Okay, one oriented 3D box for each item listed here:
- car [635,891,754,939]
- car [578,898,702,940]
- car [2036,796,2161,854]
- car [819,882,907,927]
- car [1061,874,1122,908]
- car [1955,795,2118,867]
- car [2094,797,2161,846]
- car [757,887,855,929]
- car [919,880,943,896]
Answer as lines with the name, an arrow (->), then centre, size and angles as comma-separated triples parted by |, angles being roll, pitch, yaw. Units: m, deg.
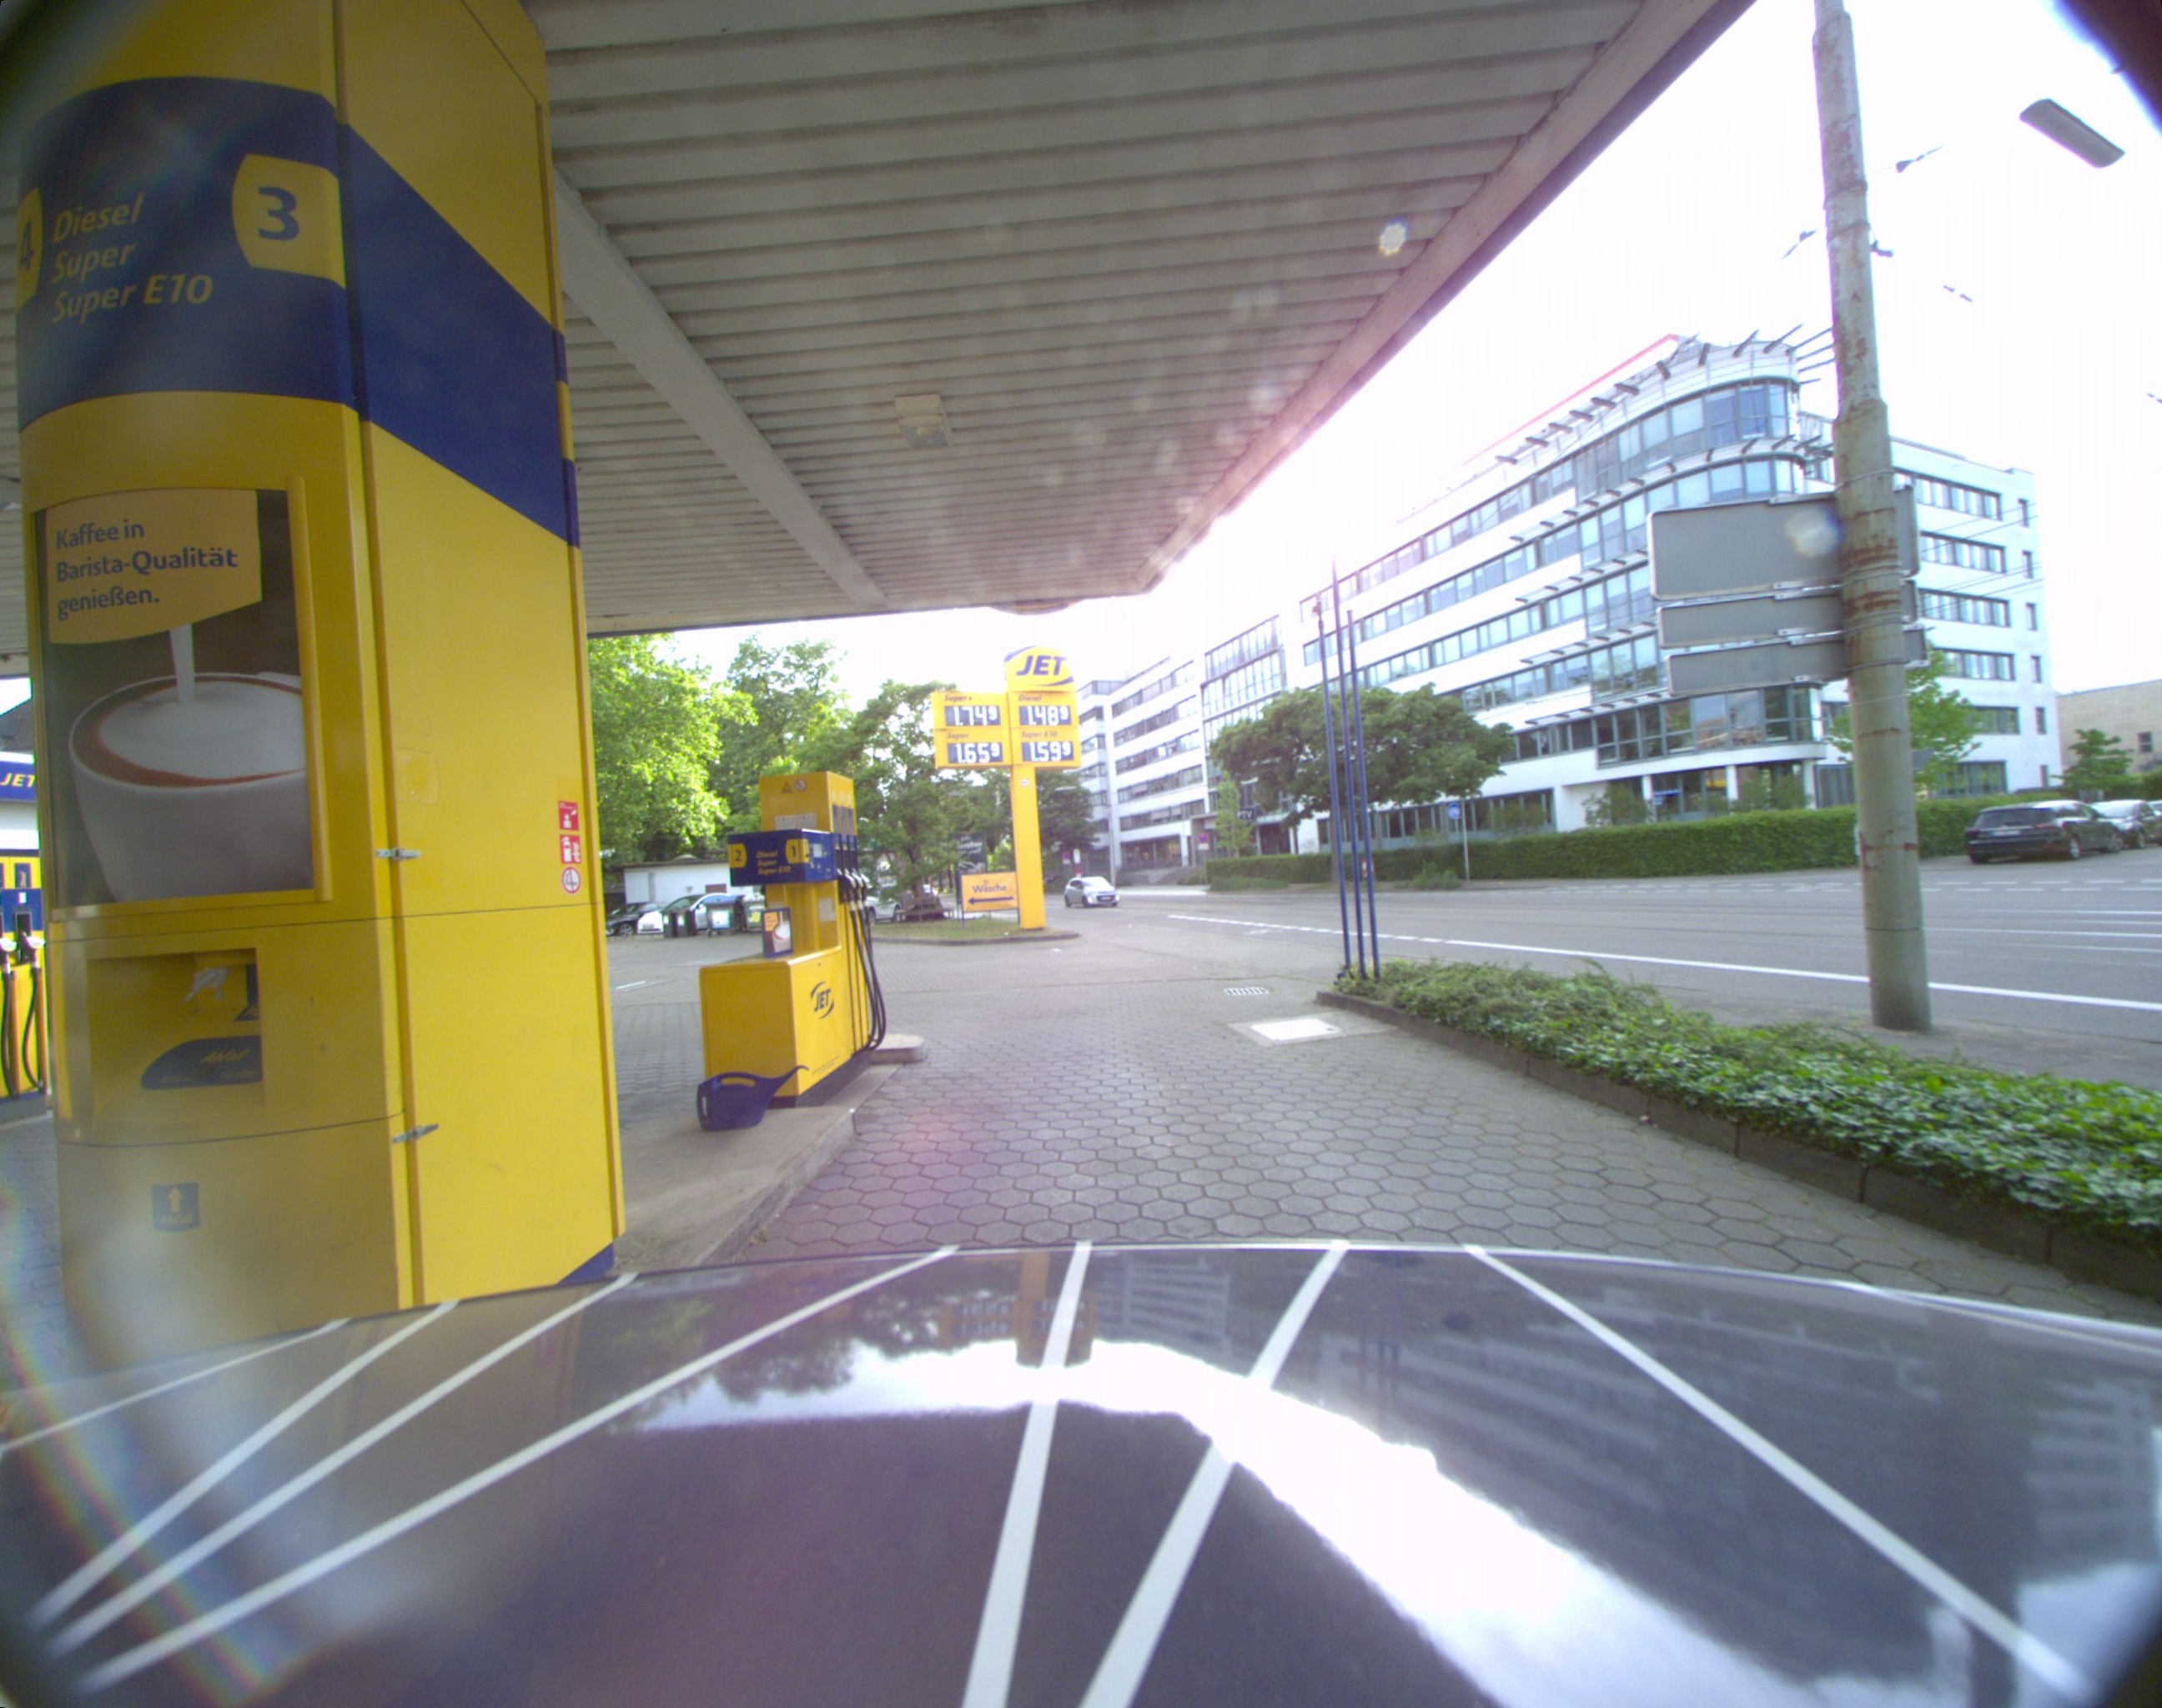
car -> -15.283, 2.370, 30.323 | 1.771, 1.591, 4.398 | -2, -1, 14
car -> -17.785, 2.596, 30.918 | 1.771, 1.367, 4.398 | -2, -1, 14
car -> 32.554, -0.941, 24.098 | 4.296, 1.530, 1.945 | -4, -1, -27
car -> -8.627, 2.006, 30.511 | 1.772, 1.591, 4.398 | -4, -3, 6
car -> 0.482, 1.789, 36.914 | 1.691, 1.424, 3.422 | -4, -1, -22
car -> 27.282, -0.663, 21.696 | 4.296, 1.681, 2.010 | -4, -1, -27
car -> 37.136, -1.197, 26.150 | 4.296, 1.509, 1.945 | -4, -1, -27
car -> -11.645, 2.272, 32.502 | 1.771, 1.591, 4.400 | -4, -4, 13
car -> -14.564, 3.286, 73.755 | 1.691, 1.463, 3.806 | -3, -1, -20
